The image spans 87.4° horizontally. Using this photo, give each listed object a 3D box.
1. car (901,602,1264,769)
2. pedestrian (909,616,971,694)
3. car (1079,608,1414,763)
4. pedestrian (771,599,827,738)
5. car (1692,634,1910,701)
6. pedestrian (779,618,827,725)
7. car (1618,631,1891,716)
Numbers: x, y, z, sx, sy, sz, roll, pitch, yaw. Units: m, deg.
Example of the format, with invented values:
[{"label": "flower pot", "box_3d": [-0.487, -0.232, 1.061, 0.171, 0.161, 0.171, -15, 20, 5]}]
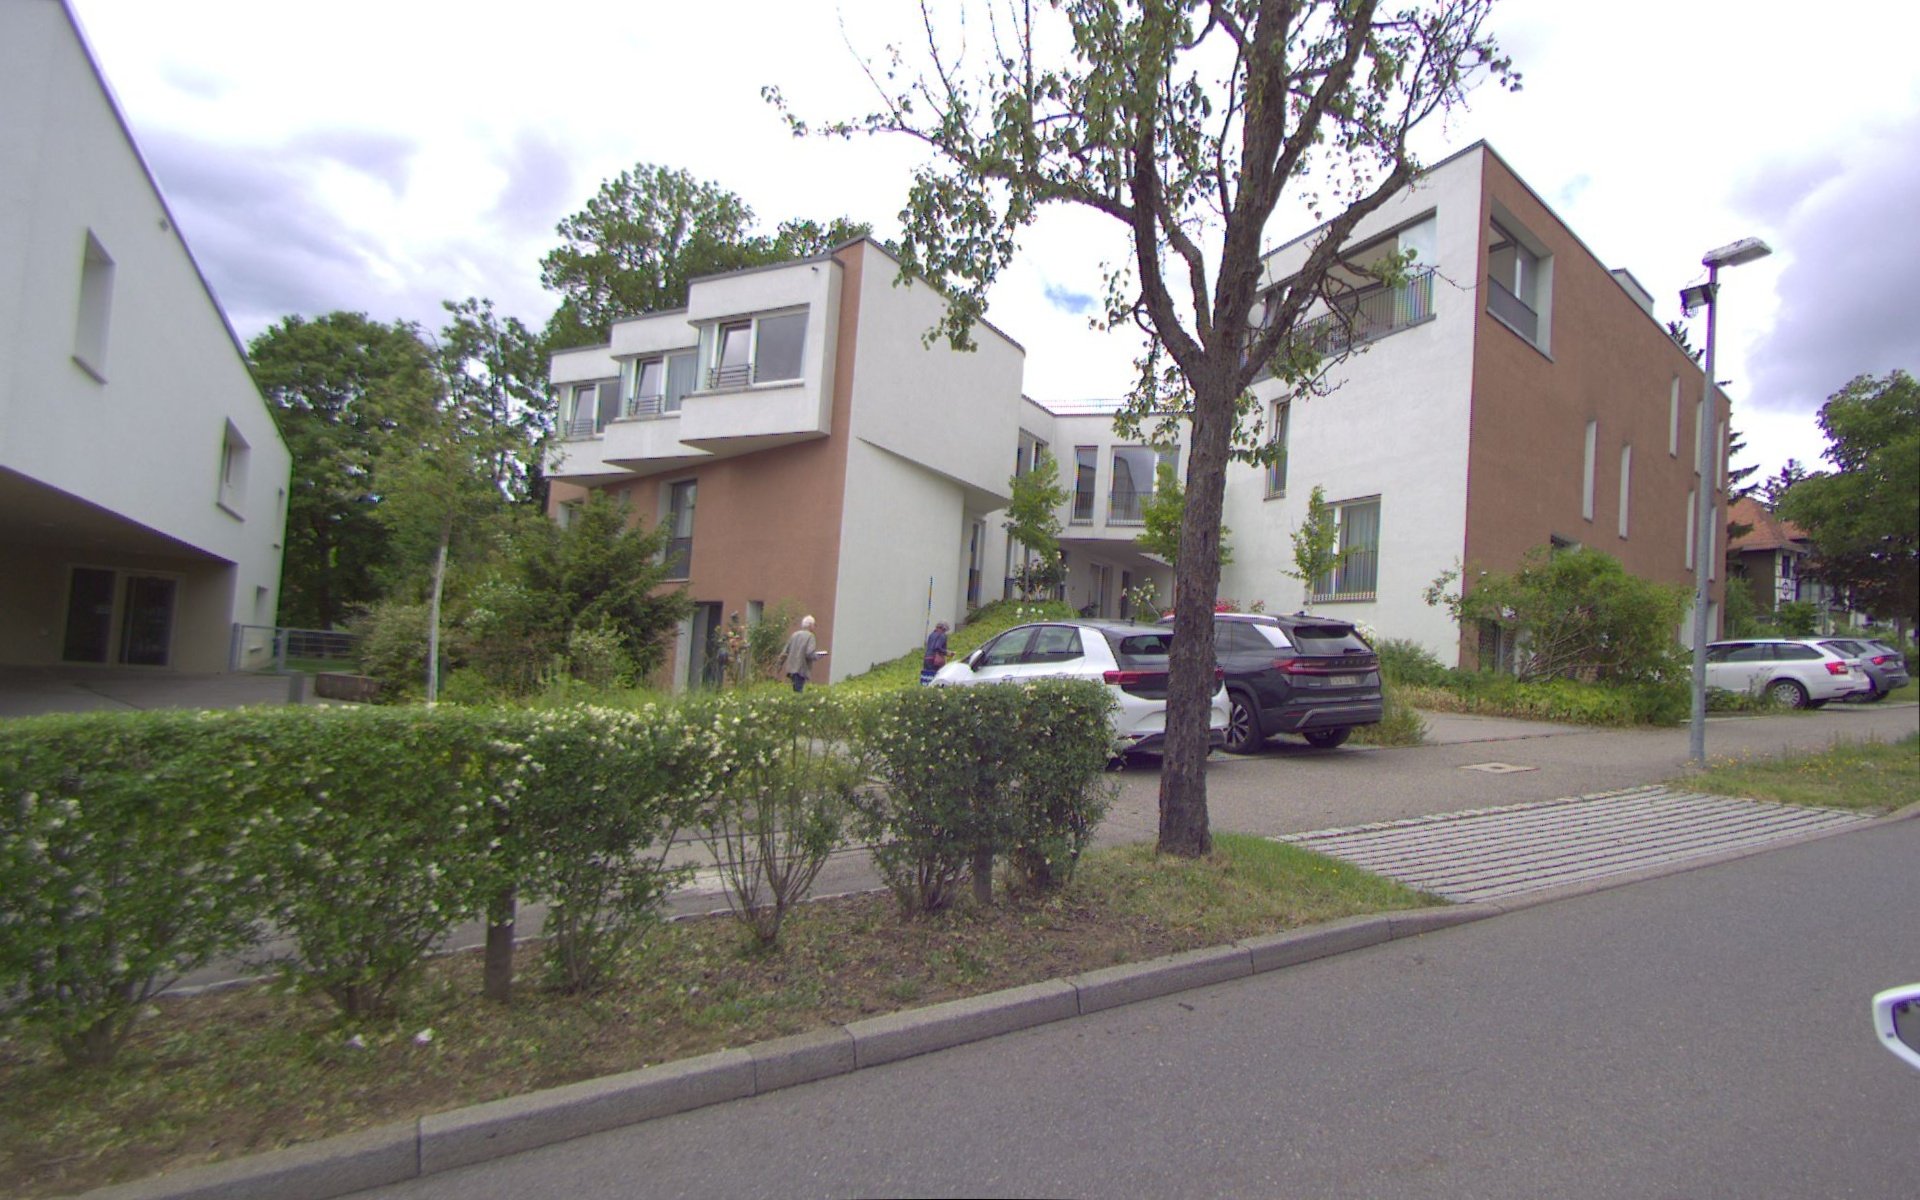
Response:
[{"label": "car", "box_3d": [1.223, 0.907, 11.965, 2.043, 1.587, 4.364, 2, -3, -32]}, {"label": "pedestrian", "box_3d": [-0.350, 0.949, 17.520, 0.889, 1.300, 0.604, 2, -1, -31]}, {"label": "car", "box_3d": [3.529, 0.975, 13.092, 1.984, 1.675, 3.969, 2, -1, -29]}, {"label": "pedestrian", "box_3d": [-2.057, 0.858, 12.780, 0.513, 1.704, 0.586, 2, -2, -29]}, {"label": "car", "box_3d": [20.253, 1.593, 24.328, 1.715, 1.483, 3.734, 1, -3, -36]}, {"label": "pedestrian", "box_3d": [-2.495, 1.126, 15.946, 0.559, 1.662, 0.591, 2, -2, -30]}, {"label": "car", "box_3d": [17.054, 1.557, 21.773, 1.993, 1.644, 4.236, 3, -4, -33]}]
